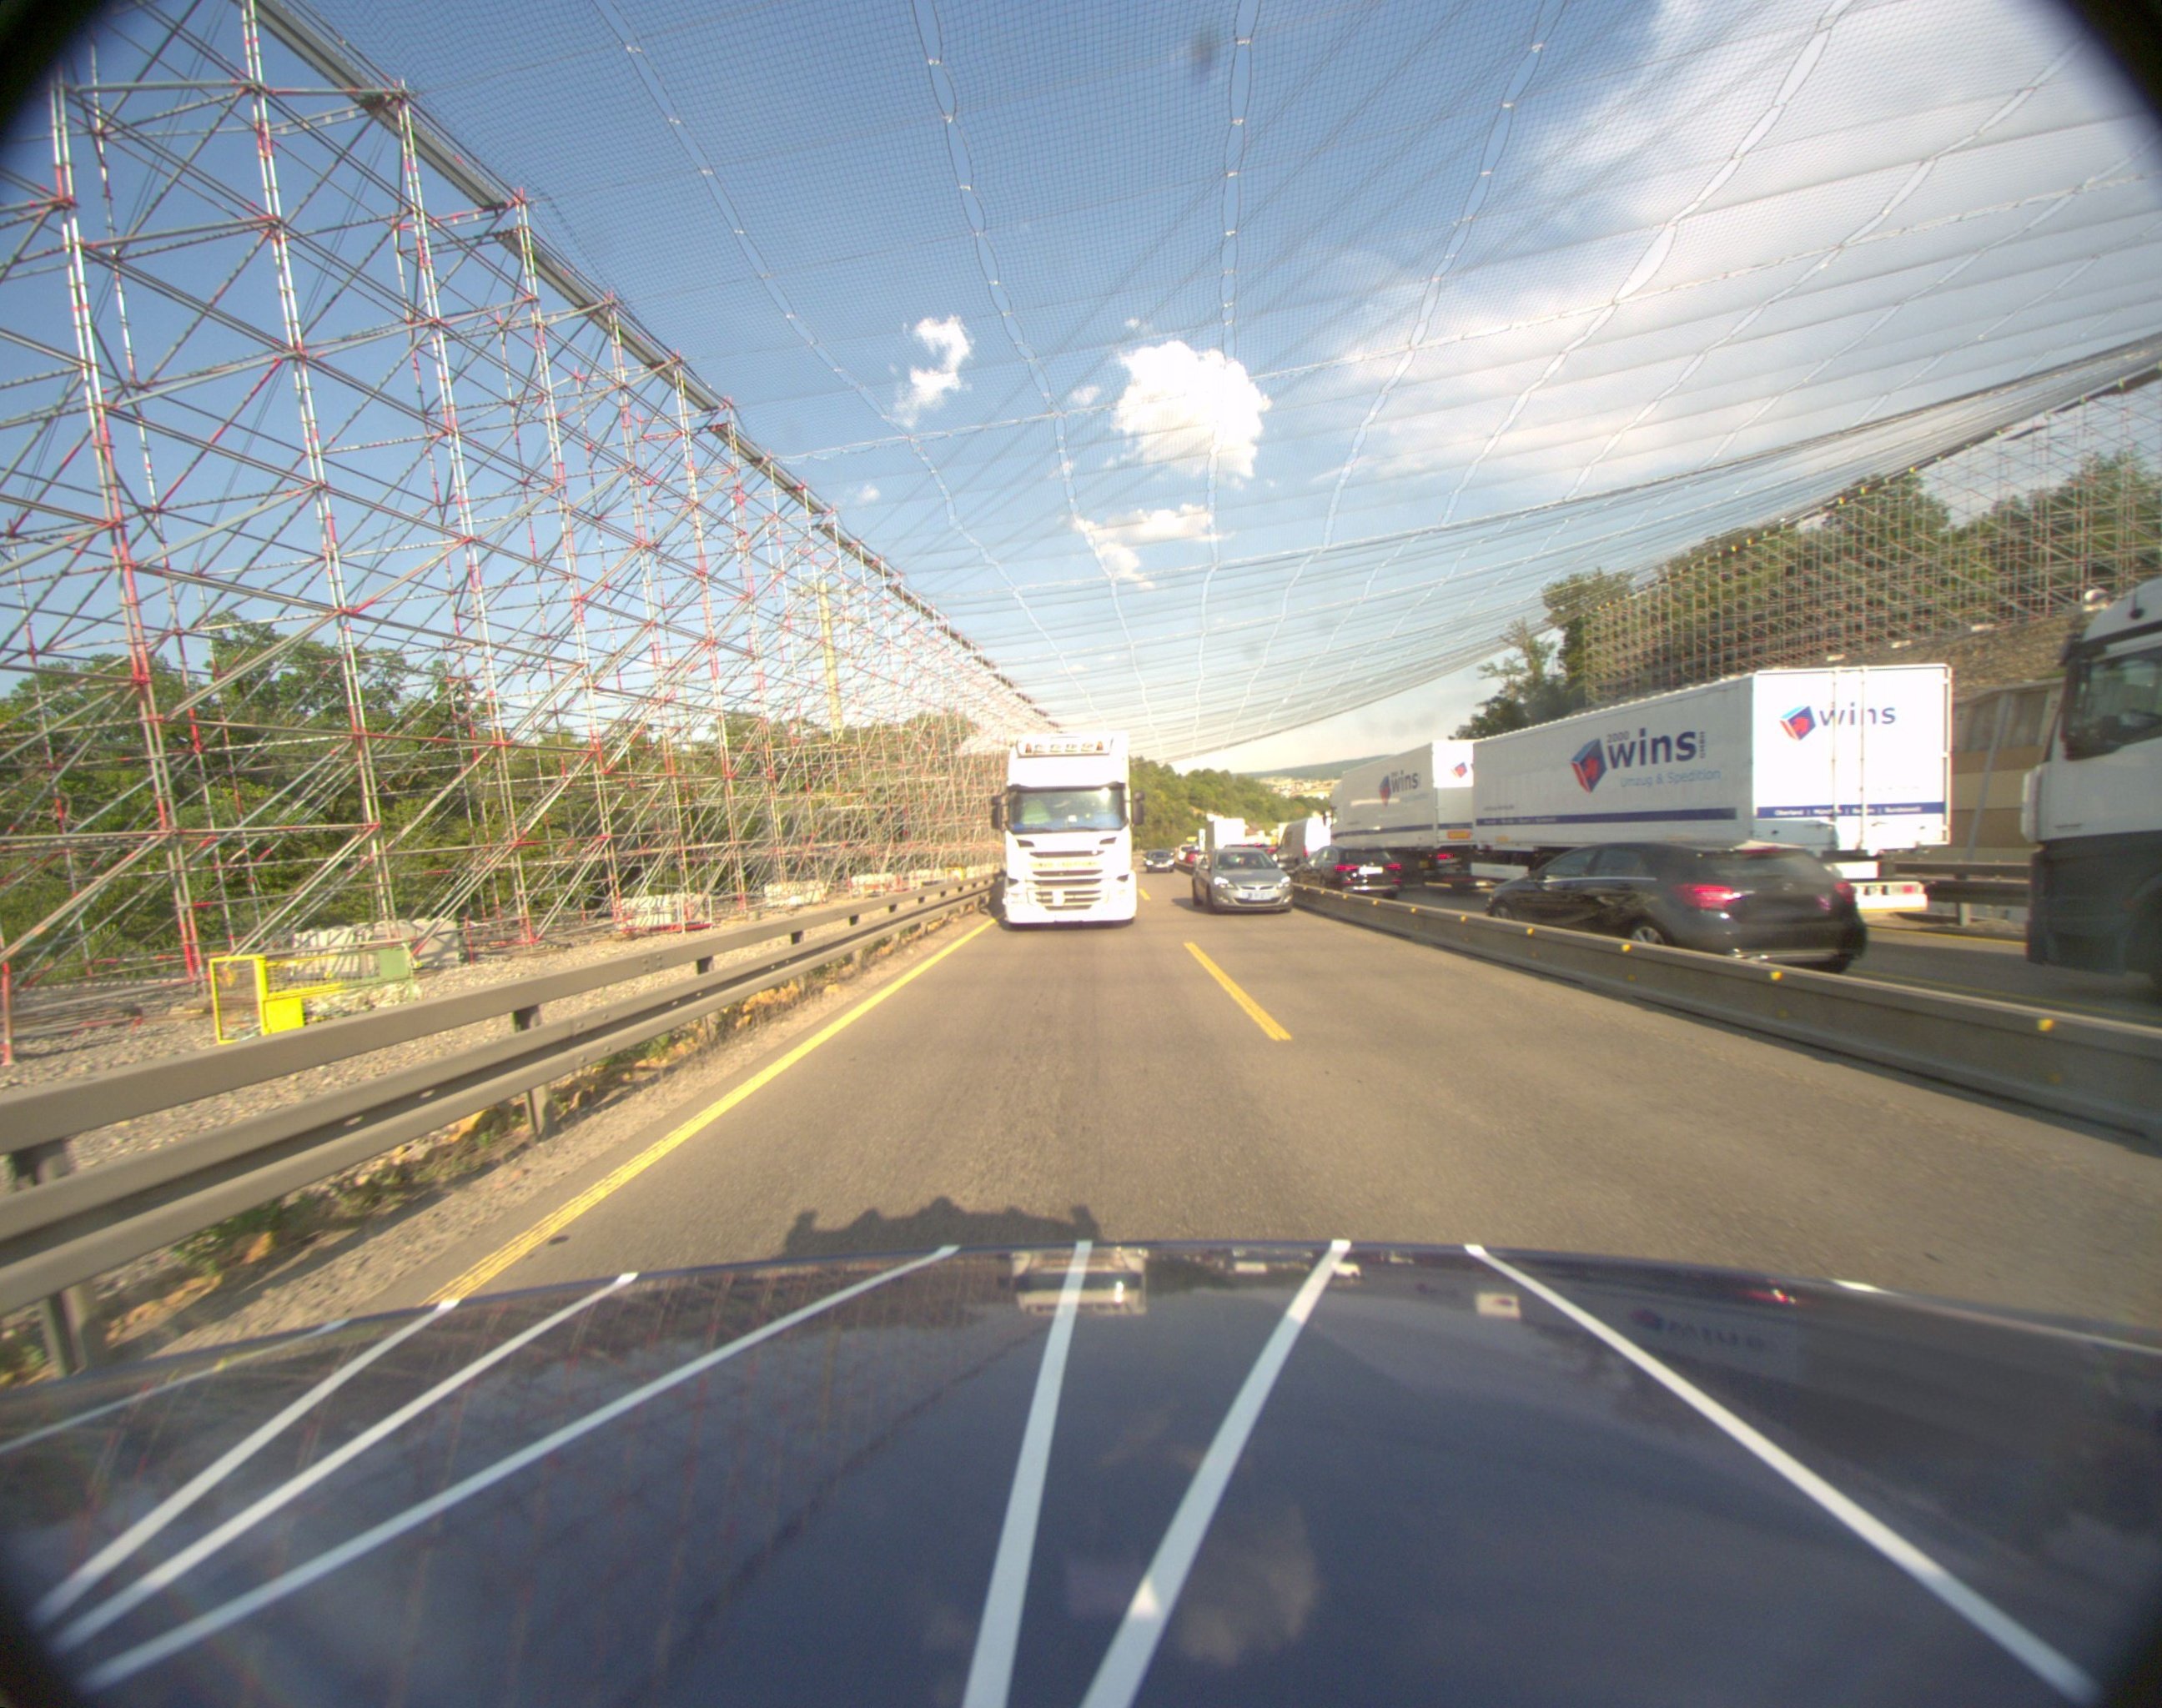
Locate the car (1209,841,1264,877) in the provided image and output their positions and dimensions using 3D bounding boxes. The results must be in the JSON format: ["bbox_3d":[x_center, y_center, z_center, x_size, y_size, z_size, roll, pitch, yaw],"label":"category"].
[{"bbox_3d":[7.438,0.183,36.643,1.812,1.559,4.365,-2,1,1],"label":"car"}]

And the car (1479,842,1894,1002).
[{"bbox_3d":[6.390,0.580,8.682,1.611,1.368,3.900,-2,1,0],"label":"car"}]

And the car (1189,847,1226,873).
[{"bbox_3d":[8.540,0.377,51.673,1.812,1.559,4.365,-2,1,1],"label":"car"}]

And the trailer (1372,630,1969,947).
[{"bbox_3d":[10.195,-0.927,16.483,2.676,3.992,13.331,-2,1,1],"label":"trailer"}]

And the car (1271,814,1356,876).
[{"bbox_3d":[11.159,-0.446,37.141,2.246,2.697,7.082,-2,1,3],"label":"car"}]

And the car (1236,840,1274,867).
[{"bbox_3d":[12.139,-0.050,53.374,1.828,1.717,4.937,-2,1,4],"label":"car"}]

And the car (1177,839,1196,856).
[{"bbox_3d":[12.026,-0.735,86.803,1.812,1.858,5.282,-2,1,4],"label":"car"}]

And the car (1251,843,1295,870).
[{"bbox_3d":[11.433,0.111,45.423,1.796,1.429,4.381,-2,1,4],"label":"car"}]

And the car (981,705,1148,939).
[{"bbox_3d":[-0.188,-0.616,17.792,2.858,4.092,8.280,-2,1,1],"label":"car"}]

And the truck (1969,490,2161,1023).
[{"bbox_3d":[9.415,-0.745,4.175,2.480,4.022,5.616,-2,1,0],"label":"truck"}]

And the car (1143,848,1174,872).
[{"bbox_3d":[4.897,0.338,48.614,1.764,1.376,3.823,-2,1,3],"label":"car"}]

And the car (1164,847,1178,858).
[{"bbox_3d":[13.992,-0.271,118.541,1.939,1.525,4.646,-2,1,5],"label":"car"}]

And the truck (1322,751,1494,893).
[{"bbox_3d":[10.340,-0.953,24.969,2.637,3.887,7.204,-2,1,2],"label":"truck"}]

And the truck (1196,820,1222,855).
[{"bbox_3d":[18.333,-2.307,109.888,2.993,4.532,17.414,-2,1,8],"label":"truck"}]

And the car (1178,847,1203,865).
[{"bbox_3d":[9.782,0.152,68.164,1.812,1.411,4.519,-2,1,4],"label":"car"}]

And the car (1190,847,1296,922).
[{"bbox_3d":[3.630,0.610,17.703,1.759,1.464,4.353,-2,1,4],"label":"car"}]

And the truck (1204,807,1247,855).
[{"bbox_3d":[14.004,-2.137,74.641,2.727,4.203,14.171,-2,1,5],"label":"truck"}]

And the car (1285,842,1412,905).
[{"bbox_3d":[6.996,0.434,20.446,1.782,1.442,4.663,-2,1,1],"label":"car"}]

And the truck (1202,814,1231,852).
[{"bbox_3d":[14.635,-2.236,82.274,2.521,3.885,6.050,-2,1,5],"label":"truck"}]
